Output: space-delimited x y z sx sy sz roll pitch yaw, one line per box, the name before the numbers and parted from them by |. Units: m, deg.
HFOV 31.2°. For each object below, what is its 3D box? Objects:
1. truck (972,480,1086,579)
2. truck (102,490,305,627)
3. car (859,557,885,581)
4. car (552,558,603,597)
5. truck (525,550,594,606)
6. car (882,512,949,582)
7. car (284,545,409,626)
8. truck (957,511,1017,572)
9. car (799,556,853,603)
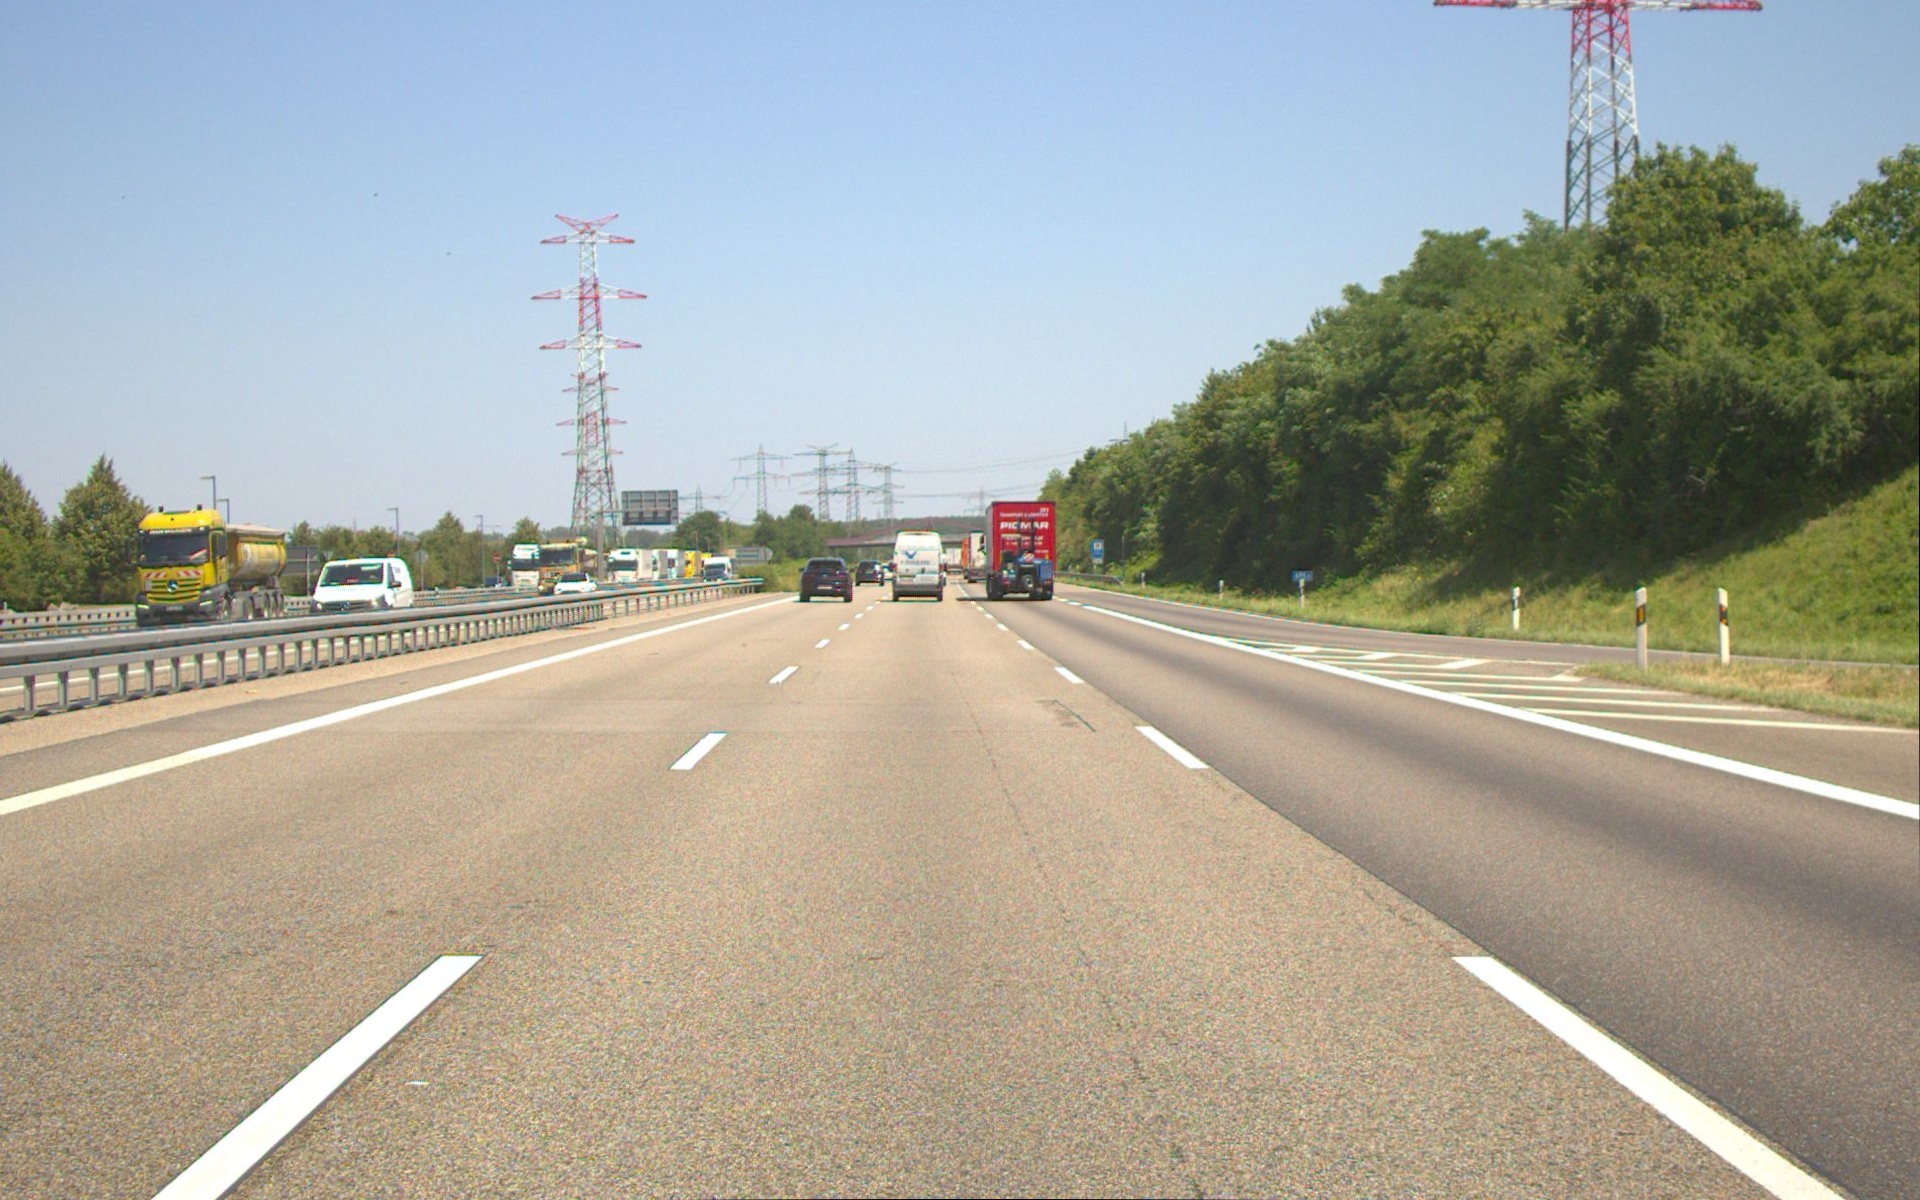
truck | 2.788 -2.974 145.324 4.331 3.928 16.078 0 1 0
truck | -22.607 -1.262 103.688 3.171 3.797 13.531 -1 1 0
car | -5.968 -2.106 233.258 1.747 1.628 4.004 0 1 -1
car | -19.225 -1.147 173.003 2.052 1.836 5.473 -1 1 -1
truck | -24.010 -1.352 206.423 2.717 3.248 12.388 -1 1 0
car | -1.812 -2.158 139.267 2.621 2.749 6.097 0 1 -1
car | -14.832 -0.379 83.409 2.052 1.836 5.943 -1 1 -1
truck | 2.037 -4.547 266.998 4.331 4.508 16.078 0 1 0
car | -5.138 -0.800 132.405 1.993 1.744 4.000 0 1 -1
